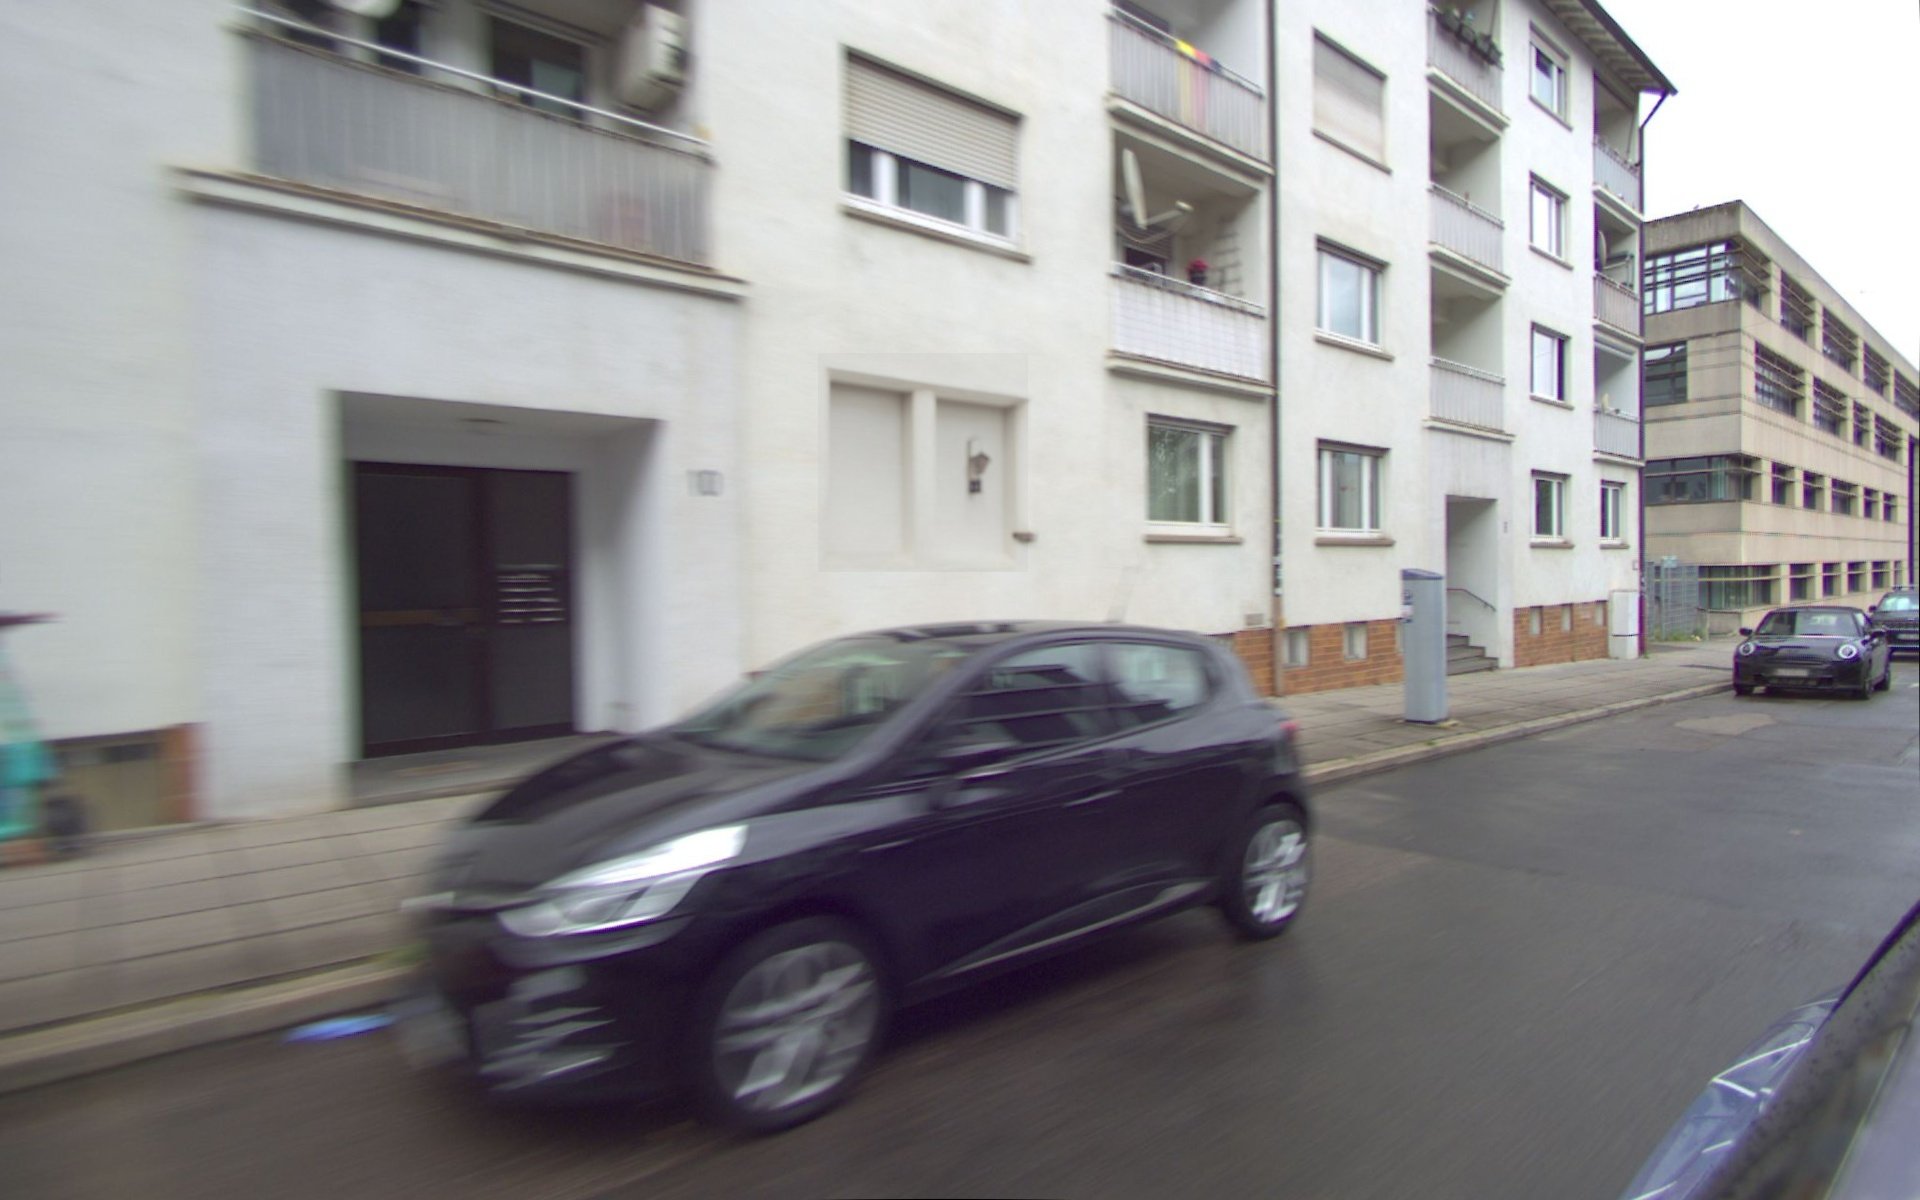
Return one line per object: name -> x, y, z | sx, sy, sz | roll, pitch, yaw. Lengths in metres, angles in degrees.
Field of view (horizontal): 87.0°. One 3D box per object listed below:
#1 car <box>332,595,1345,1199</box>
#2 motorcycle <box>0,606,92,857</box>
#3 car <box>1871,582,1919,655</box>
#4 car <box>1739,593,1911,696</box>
car -> -0.192, 0.762, 4.228 | 3.915, 1.473, 1.709 | -1, 0, -41
motorcycle -> -4.677, 0.629, 4.839 | 0.766, 1.180, 0.253 | -1, -1, -38
car -> 25.417, 0.411, 26.357 | 4.713, 1.772, 1.938 | -1, 0, -41
car -> 14.526, 0.660, 16.932 | 3.699, 1.478, 1.675 | -1, 0, -41
